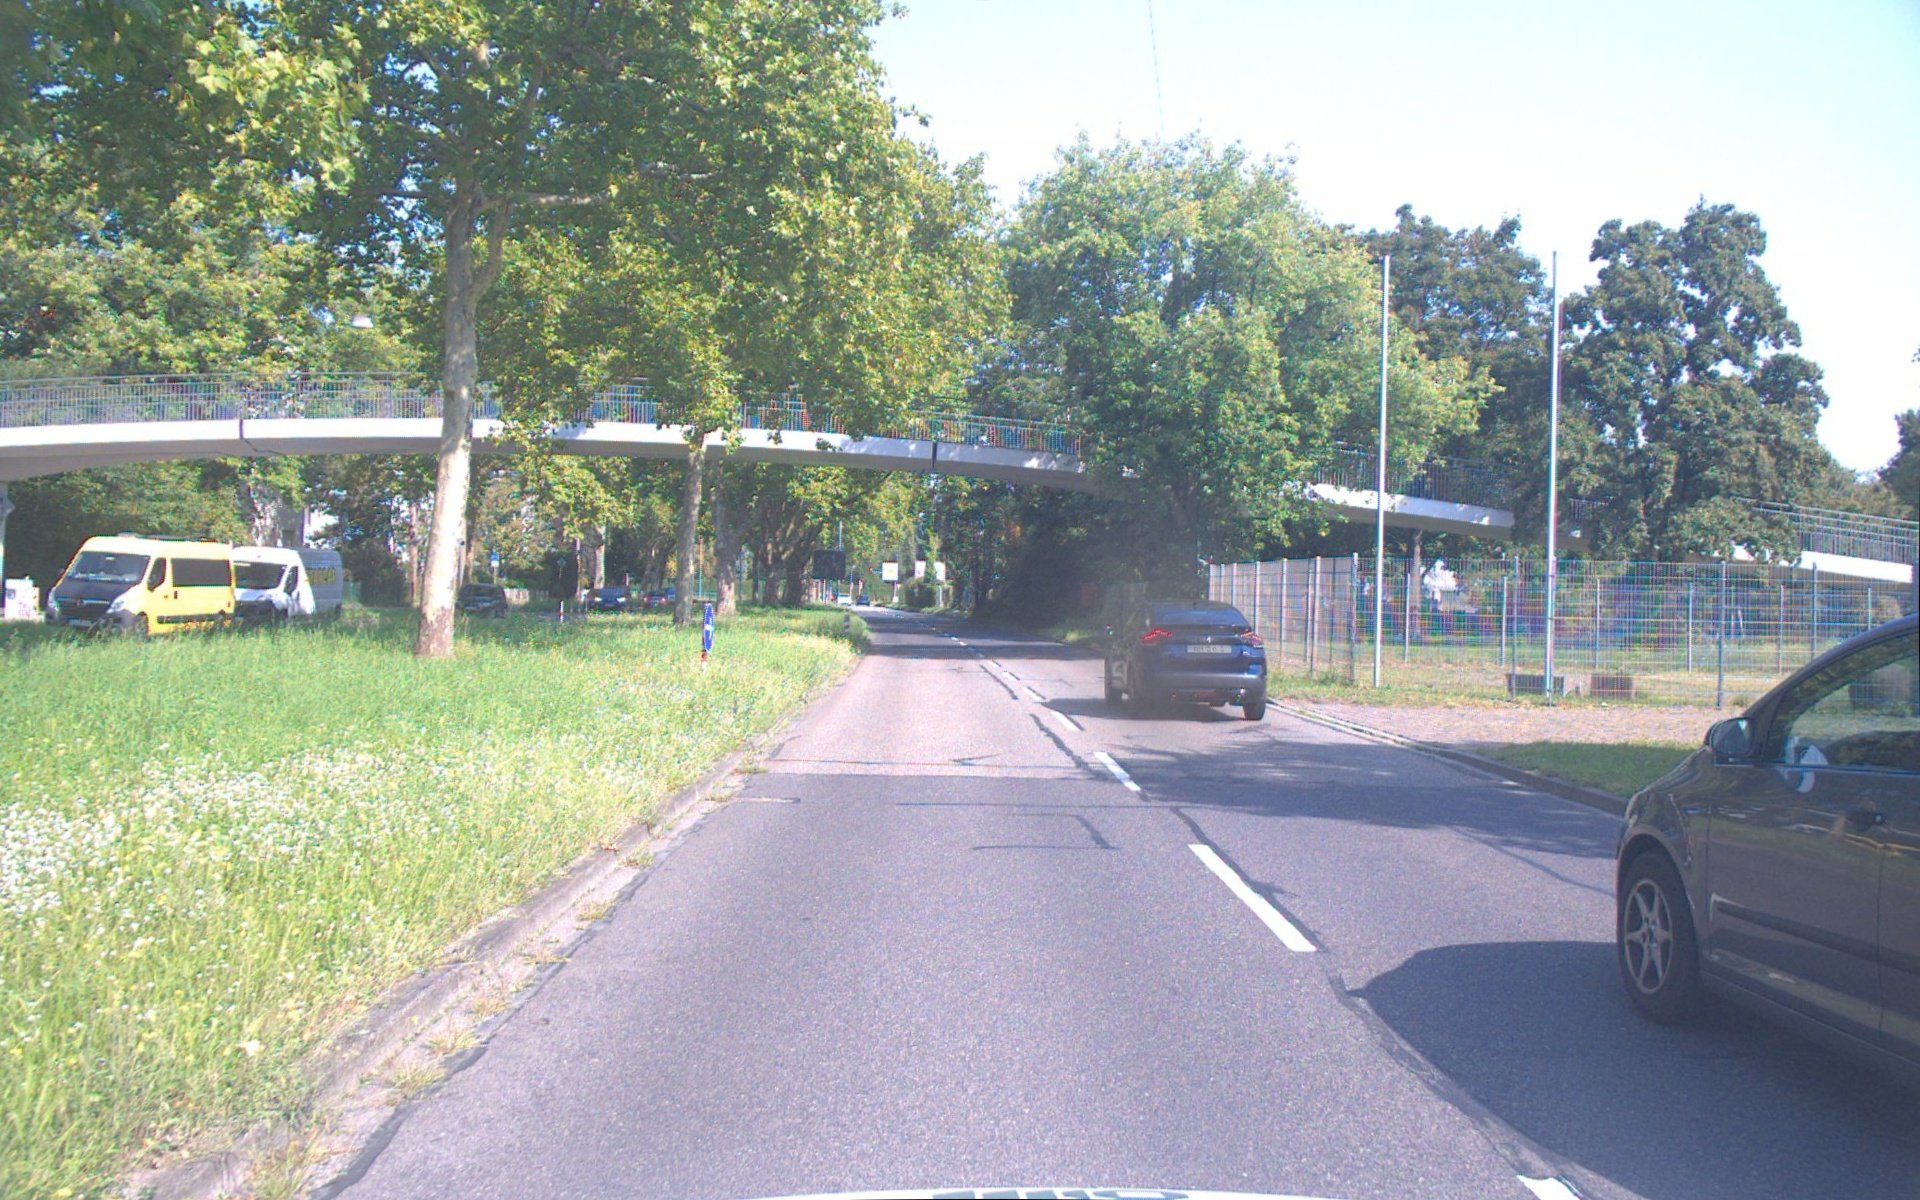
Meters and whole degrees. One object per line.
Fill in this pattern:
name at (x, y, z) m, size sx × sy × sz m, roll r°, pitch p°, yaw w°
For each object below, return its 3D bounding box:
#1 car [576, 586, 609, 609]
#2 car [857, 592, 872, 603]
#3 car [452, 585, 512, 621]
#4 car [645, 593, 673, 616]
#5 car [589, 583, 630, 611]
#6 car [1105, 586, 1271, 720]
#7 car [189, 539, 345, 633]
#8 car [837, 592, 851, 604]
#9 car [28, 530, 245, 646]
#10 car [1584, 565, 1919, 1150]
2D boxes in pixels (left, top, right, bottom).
car at (-24.471, -0.177, 110.313) m, size 1.508 × 1.477 × 4.061 m, roll 2°, pitch 0°, yaw -4°
car at (-12.561, -0.300, 218.030) m, size 1.763 × 1.425 × 3.995 m, roll 2°, pitch 0°, yaw -6°
car at (-21.464, 0.134, 74.445) m, size 1.491 × 1.559 × 3.864 m, roll 1°, pitch 0°, yaw 1°
car at (-22.186, 0.331, 121.962) m, size 1.658 × 1.559 × 4.065 m, roll 1°, pitch 0°, yaw -5°
car at (-20.663, -0.160, 97.661) m, size 1.752 × 1.559 × 4.452 m, roll 2°, pitch 0°, yaw -4°
car at (3.020, 0.652, 22.647) m, size 1.611 × 1.616 × 4.254 m, roll 2°, pitch 0°, yaw 0°
car at (-19.979, -0.388, 48.039) m, size 2.164 × 2.472 × 6.260 m, roll 2°, pitch 0°, yaw -4°
car at (-14.387, -0.257, 205.471) m, size 1.654 × 1.487 × 3.996 m, roll 2°, pitch 0°, yaw -5°
car at (-19.736, -0.278, 40.040) m, size 2.163 × 2.522 × 6.060 m, roll 2°, pitch 0°, yaw 0°
car at (3.419, 0.724, 4.796) m, size 1.612 × 1.584 × 3.897 m, roll 2°, pitch 0°, yaw -2°
